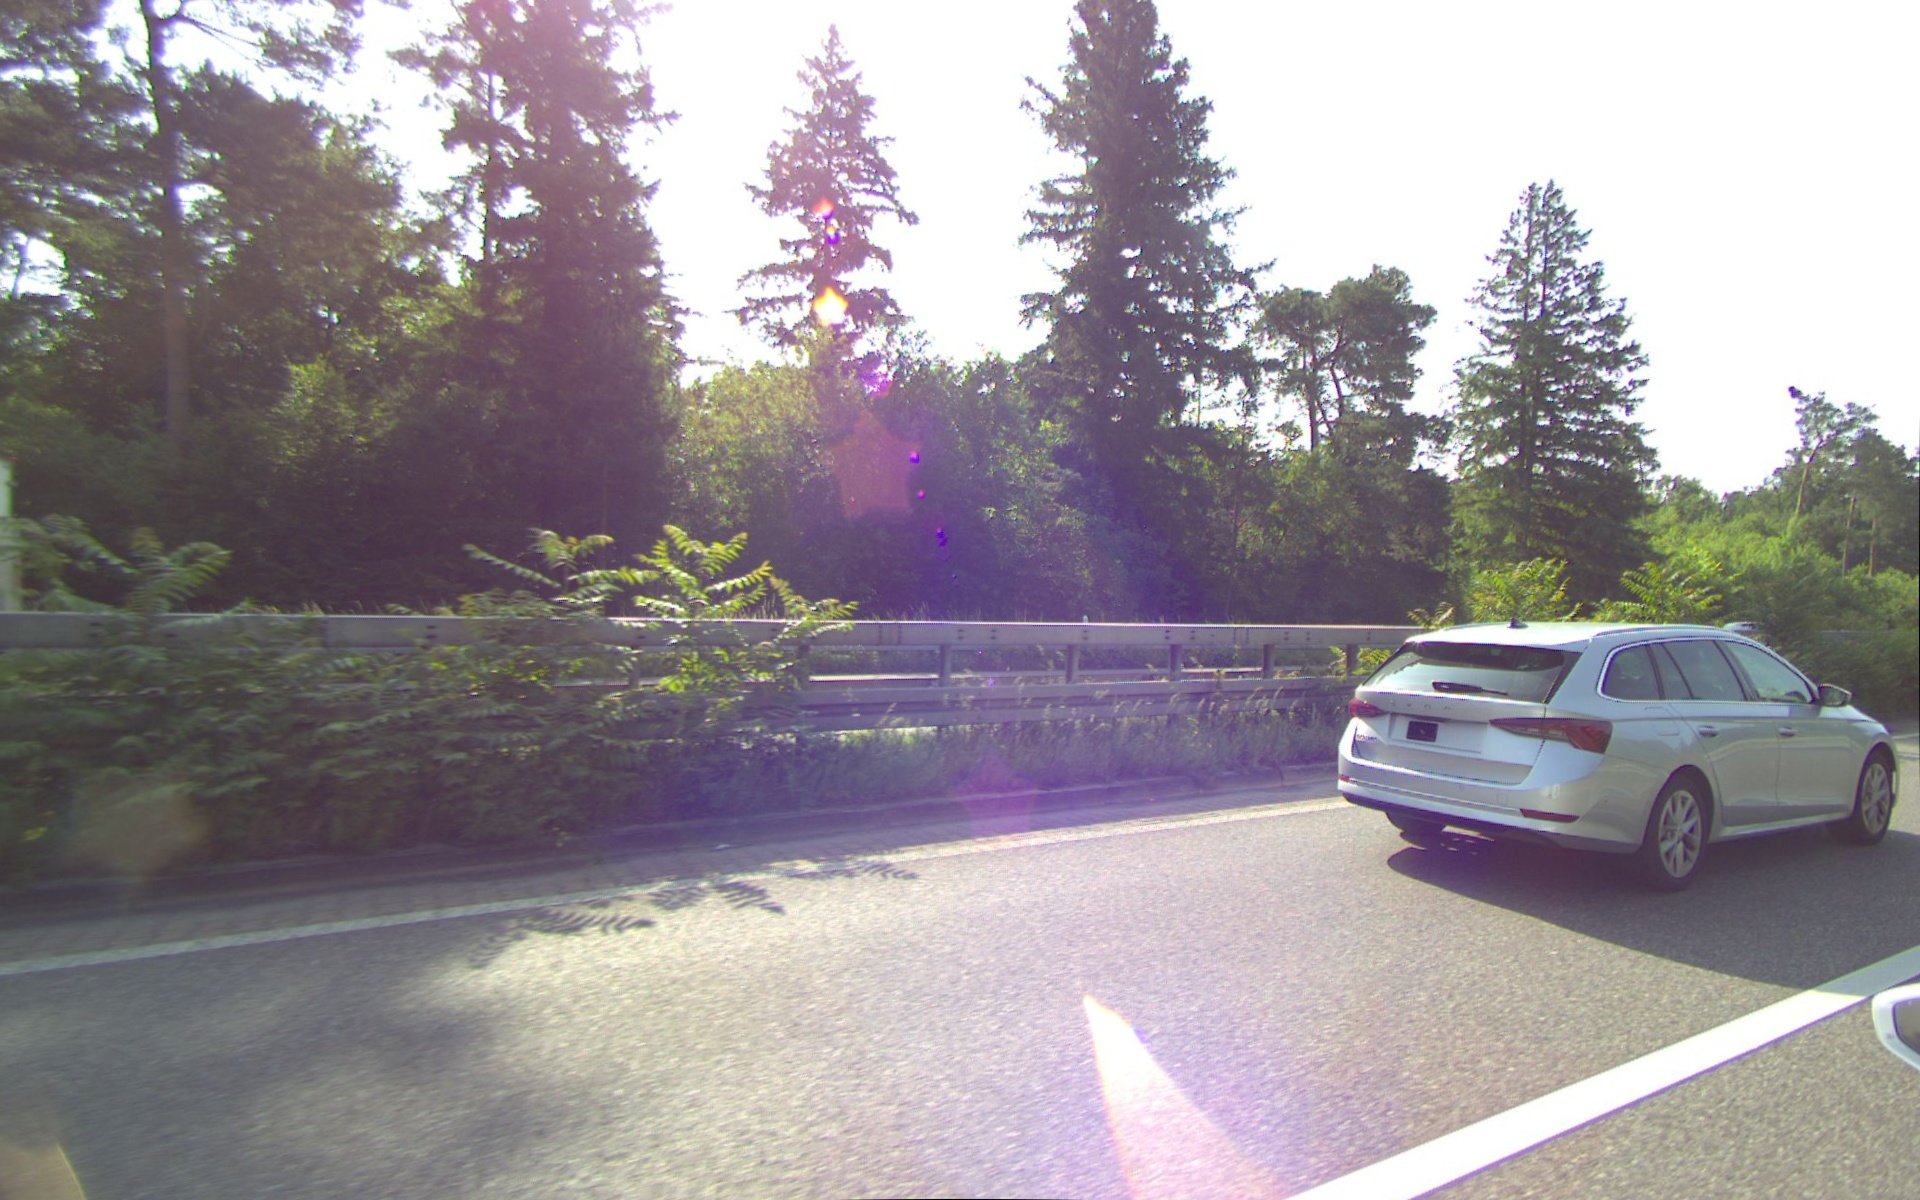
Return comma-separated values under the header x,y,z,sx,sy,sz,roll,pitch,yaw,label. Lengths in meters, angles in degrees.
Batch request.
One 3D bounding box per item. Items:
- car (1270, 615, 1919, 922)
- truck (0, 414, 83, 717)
x,y,z,sx,sy,sz,roll,pitch,yaw,label
4.652,0.861,6.911,5.216,1.457,1.784,1,-1,-31,car
-13.715,-0.406,9.951,7.143,3.218,2.450,1,-2,-31,truck
